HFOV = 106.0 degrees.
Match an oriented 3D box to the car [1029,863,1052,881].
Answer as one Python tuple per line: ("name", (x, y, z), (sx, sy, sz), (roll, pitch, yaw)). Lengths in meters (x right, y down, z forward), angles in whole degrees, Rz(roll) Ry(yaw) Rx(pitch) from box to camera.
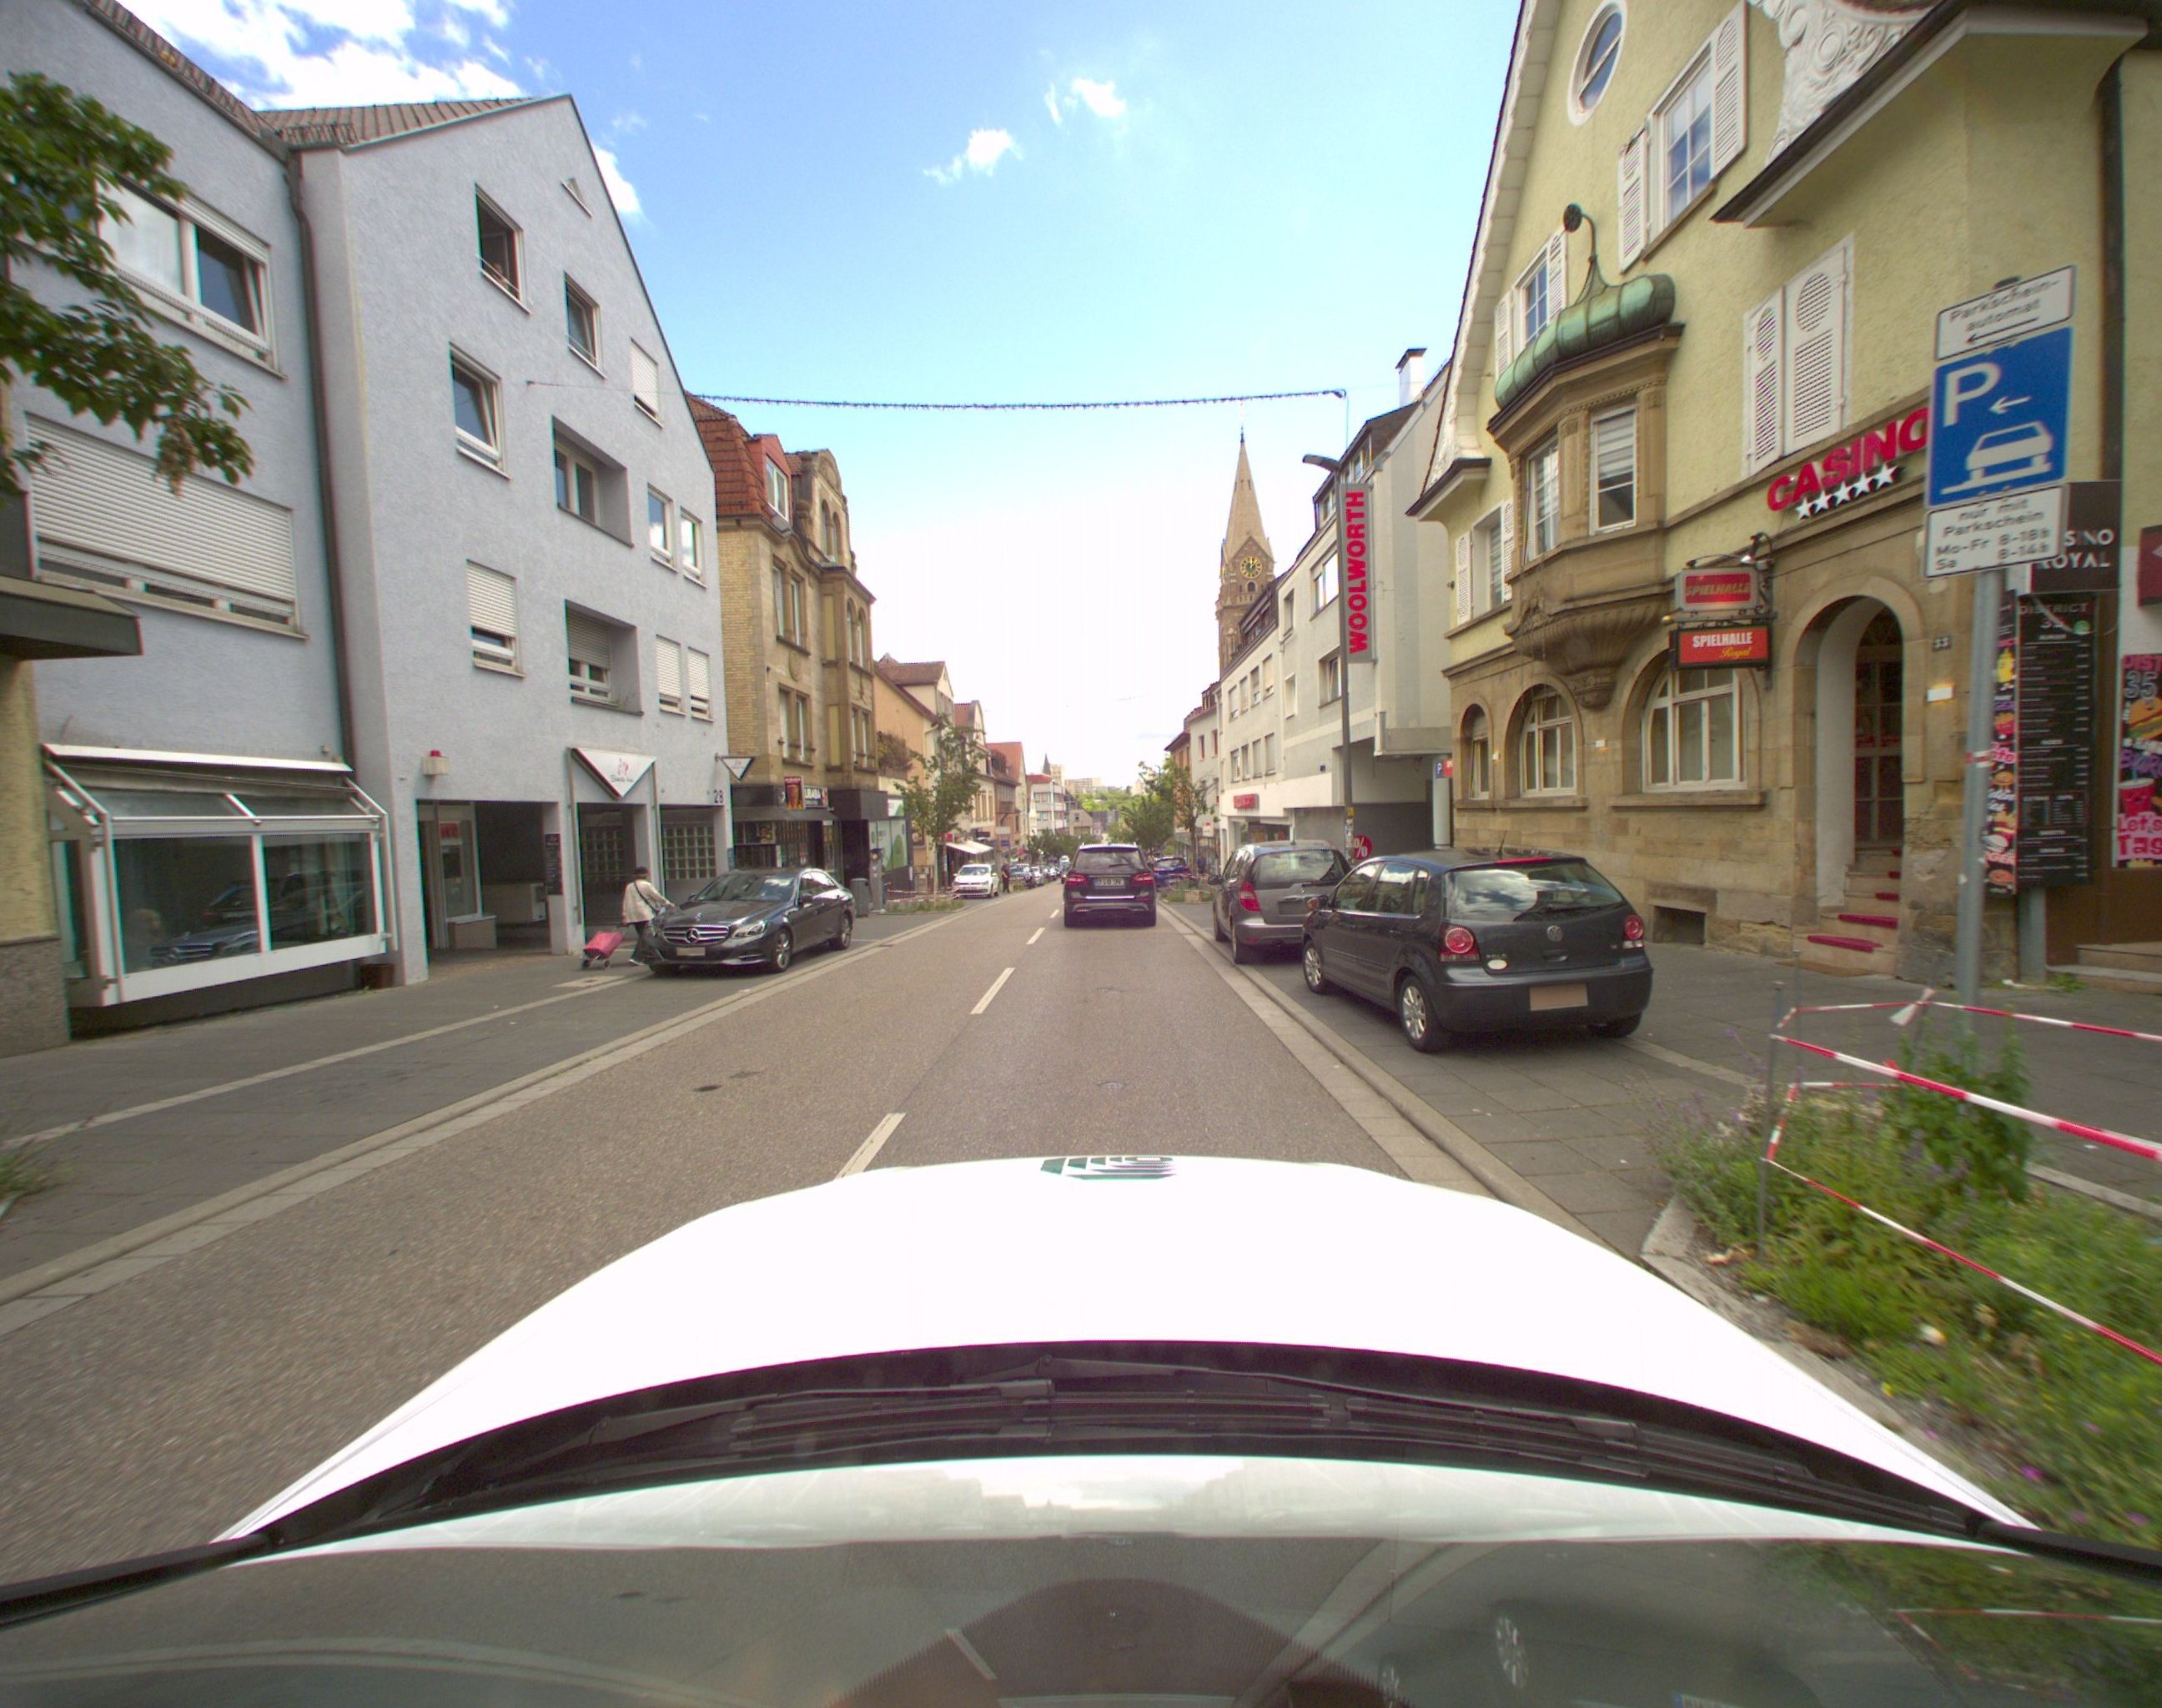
("car", (-3.675, 1.645, 74.296), (1.921, 1.496, 4.259), (-2, 0, -2))

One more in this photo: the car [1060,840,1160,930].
("car", (0.630, 0.596, 18.149), (1.936, 1.740, 4.180), (-1, 0, 2))

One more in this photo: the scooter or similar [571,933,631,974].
("scooter or similar", (-6.951, 1.435, 11.817), (0.523, 0.519, 0.573), (0, -1, 0))

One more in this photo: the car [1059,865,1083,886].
("car", (-0.860, 1.788, 68.416), (1.814, 1.618, 4.133), (-4, -1, -1))

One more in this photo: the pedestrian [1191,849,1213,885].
("pedestrian", (5.429, 0.595, 36.653), (0.754, 1.561, 0.817), (-3, -1, -2))

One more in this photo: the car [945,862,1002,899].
("car", (-4.627, 1.111, 35.631), (1.920, 1.511, 4.262), (0, 0, 0))

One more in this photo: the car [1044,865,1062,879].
("car", (-3.360, 2.147, 98.019), (1.920, 1.497, 4.262), (0, 0, 0))

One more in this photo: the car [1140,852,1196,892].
("car", (3.740, 0.805, 35.638), (1.745, 1.498, 3.795), (-4, -2, -4))

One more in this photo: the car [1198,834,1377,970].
("car", (2.863, 0.605, 12.112), (1.741, 1.607, 3.802), (-4, 0, 2))

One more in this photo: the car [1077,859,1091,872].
("car", (0.443, 1.674, 117.212), (1.985, 1.718, 4.447), (-2, 0, 0))

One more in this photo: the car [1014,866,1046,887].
("car", (-3.769, 1.662, 60.567), (1.919, 1.430, 4.264), (-1, -1, 2))

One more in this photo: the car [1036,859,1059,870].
("car", (-6.103, 1.963, 149.389), (3.978, 1.750, 1.998), (-4, -1, -3))

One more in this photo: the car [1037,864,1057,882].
("car", (-3.377, 1.881, 81.587), (1.921, 1.595, 4.455), (0, 0, -2))

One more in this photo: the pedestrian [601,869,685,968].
("pedestrian", (-6.717, 0.963, 12.538), (0.823, 1.463, 0.810), (0, -1, 0))

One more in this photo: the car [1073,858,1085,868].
("car", (-0.350, 1.549, 138.994), (1.919, 1.628, 4.263), (0, 0, 1))

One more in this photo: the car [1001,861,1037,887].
("car", (-3.972, 1.292, 52.892), (1.920, 1.621, 4.639), (-1, -1, 0))

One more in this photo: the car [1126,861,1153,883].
("car", (4.455, 1.350, 62.704), (1.742, 1.465, 4.074), (-5, 0, 0))

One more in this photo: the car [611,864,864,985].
("car", (-5.071, 0.935, 12.916), (1.920, 1.492, 4.842), (0, 0, 0))

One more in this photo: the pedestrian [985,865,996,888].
("pedestrian", (-6.375, 1.584, 57.416), (0.545, 1.576, 0.863), (-3, 0, 0))

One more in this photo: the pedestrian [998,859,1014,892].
("pedestrian", (-3.880, 1.114, 42.028), (0.735, 1.672, 0.862), (-2, -1, -2))

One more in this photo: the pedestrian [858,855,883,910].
("pedestrian", (-6.615, 0.895, 25.632), (0.585, 1.713, 0.710), (0, -1, 1))

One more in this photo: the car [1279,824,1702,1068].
("car", (3.202, 0.615, 7.353), (1.743, 1.508, 3.872), (-3, 0, -1))
